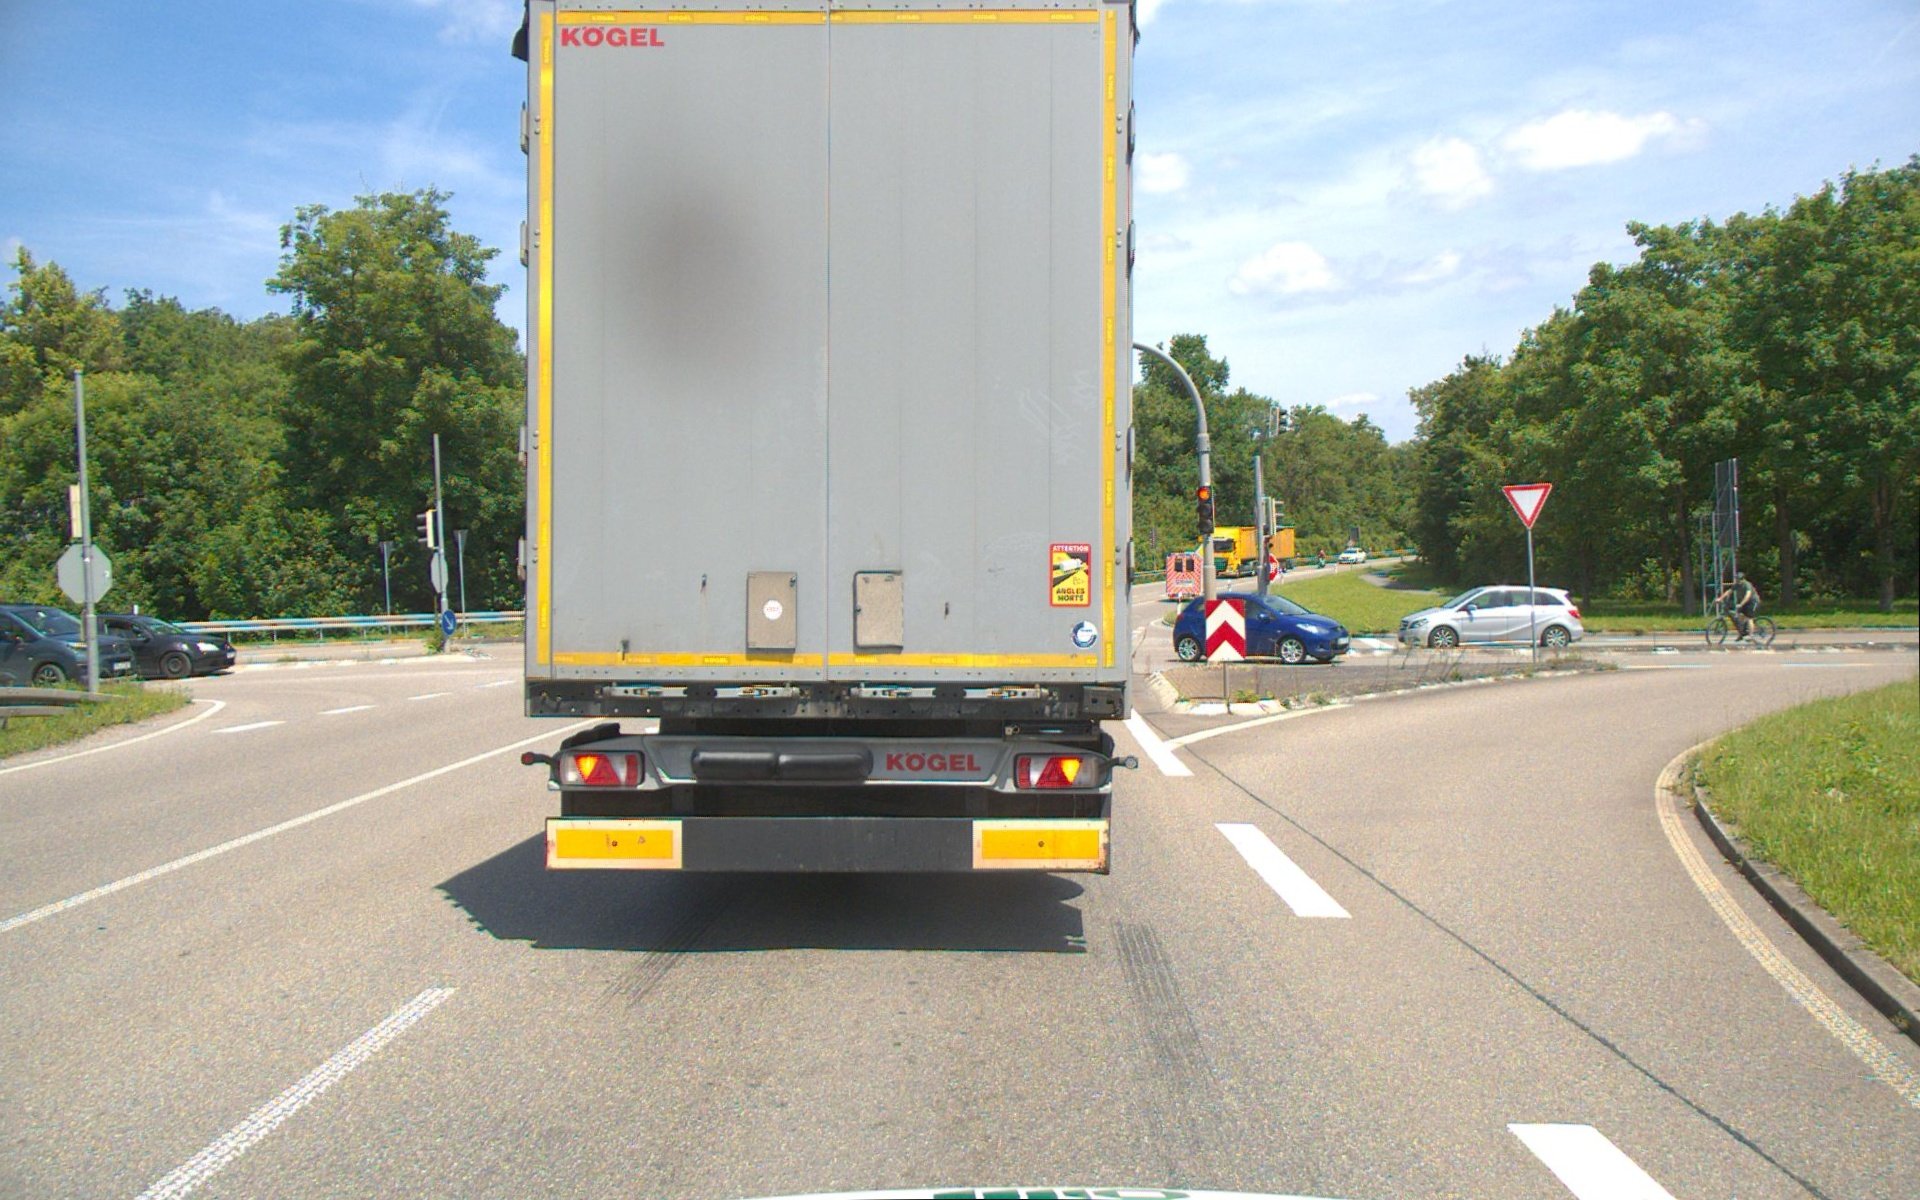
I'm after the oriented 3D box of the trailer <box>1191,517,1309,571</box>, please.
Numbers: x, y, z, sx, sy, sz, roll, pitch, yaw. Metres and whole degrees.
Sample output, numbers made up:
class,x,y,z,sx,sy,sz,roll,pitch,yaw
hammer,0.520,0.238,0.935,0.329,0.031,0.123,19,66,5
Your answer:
class,x,y,z,sx,sy,sz,roll,pitch,yaw
trailer,25.848,-4.810,145.615,4.912,4.438,20.823,0,1,25

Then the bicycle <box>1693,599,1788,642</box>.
class,x,y,z,sx,sy,sz,roll,pitch,yaw
bicycle,18.976,0.514,40.227,1.949,1.013,0.796,1,-2,-4

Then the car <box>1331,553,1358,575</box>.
class,x,y,z,sx,sy,sz,roll,pitch,yaw
car,39.349,-3.683,169.103,1.954,2.048,3.999,0,3,25

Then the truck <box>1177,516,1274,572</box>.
class,x,y,z,sx,sy,sz,roll,pitch,yaw
truck,22.254,-4.592,137.941,4.912,4.438,11.757,0,1,25

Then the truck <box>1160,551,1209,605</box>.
class,x,y,z,sx,sy,sz,roll,pitch,yaw
truck,12.830,-1.224,94.357,2.440,2.776,6.035,0,-2,11

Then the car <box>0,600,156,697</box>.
class,x,y,z,sx,sy,sz,roll,pitch,yaw
car,-18.090,0.935,32.014,4.143,1.801,2.002,-1,-1,9

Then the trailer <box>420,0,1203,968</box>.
class,x,y,z,sx,sy,sz,roll,pitch,yaw
trailer,-0.455,-0.662,12.624,2.988,4.104,12.560,0,0,1

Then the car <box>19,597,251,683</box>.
class,x,y,z,sx,sy,sz,roll,pitch,yaw
car,-17.987,0.866,36.149,4.143,1.801,2.002,-1,-1,9

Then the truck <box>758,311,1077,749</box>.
class,x,y,z,sx,sy,sz,roll,pitch,yaw
truck,-0.336,-0.668,18.881,2.975,4.104,6.630,0,0,1

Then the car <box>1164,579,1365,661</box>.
class,x,y,z,sx,sy,sz,roll,pitch,yaw
car,6.397,0.449,34.907,3.787,1.641,1.871,-1,-2,40

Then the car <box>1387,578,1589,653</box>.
class,x,y,z,sx,sy,sz,roll,pitch,yaw
car,12.793,0.393,40.309,4.334,1.749,2.001,0,-2,4

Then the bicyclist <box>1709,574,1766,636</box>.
class,x,y,z,sx,sy,sz,roll,pitch,yaw
bicyclist,18.908,0.135,40.231,0.985,1.474,0.795,1,-2,-3
